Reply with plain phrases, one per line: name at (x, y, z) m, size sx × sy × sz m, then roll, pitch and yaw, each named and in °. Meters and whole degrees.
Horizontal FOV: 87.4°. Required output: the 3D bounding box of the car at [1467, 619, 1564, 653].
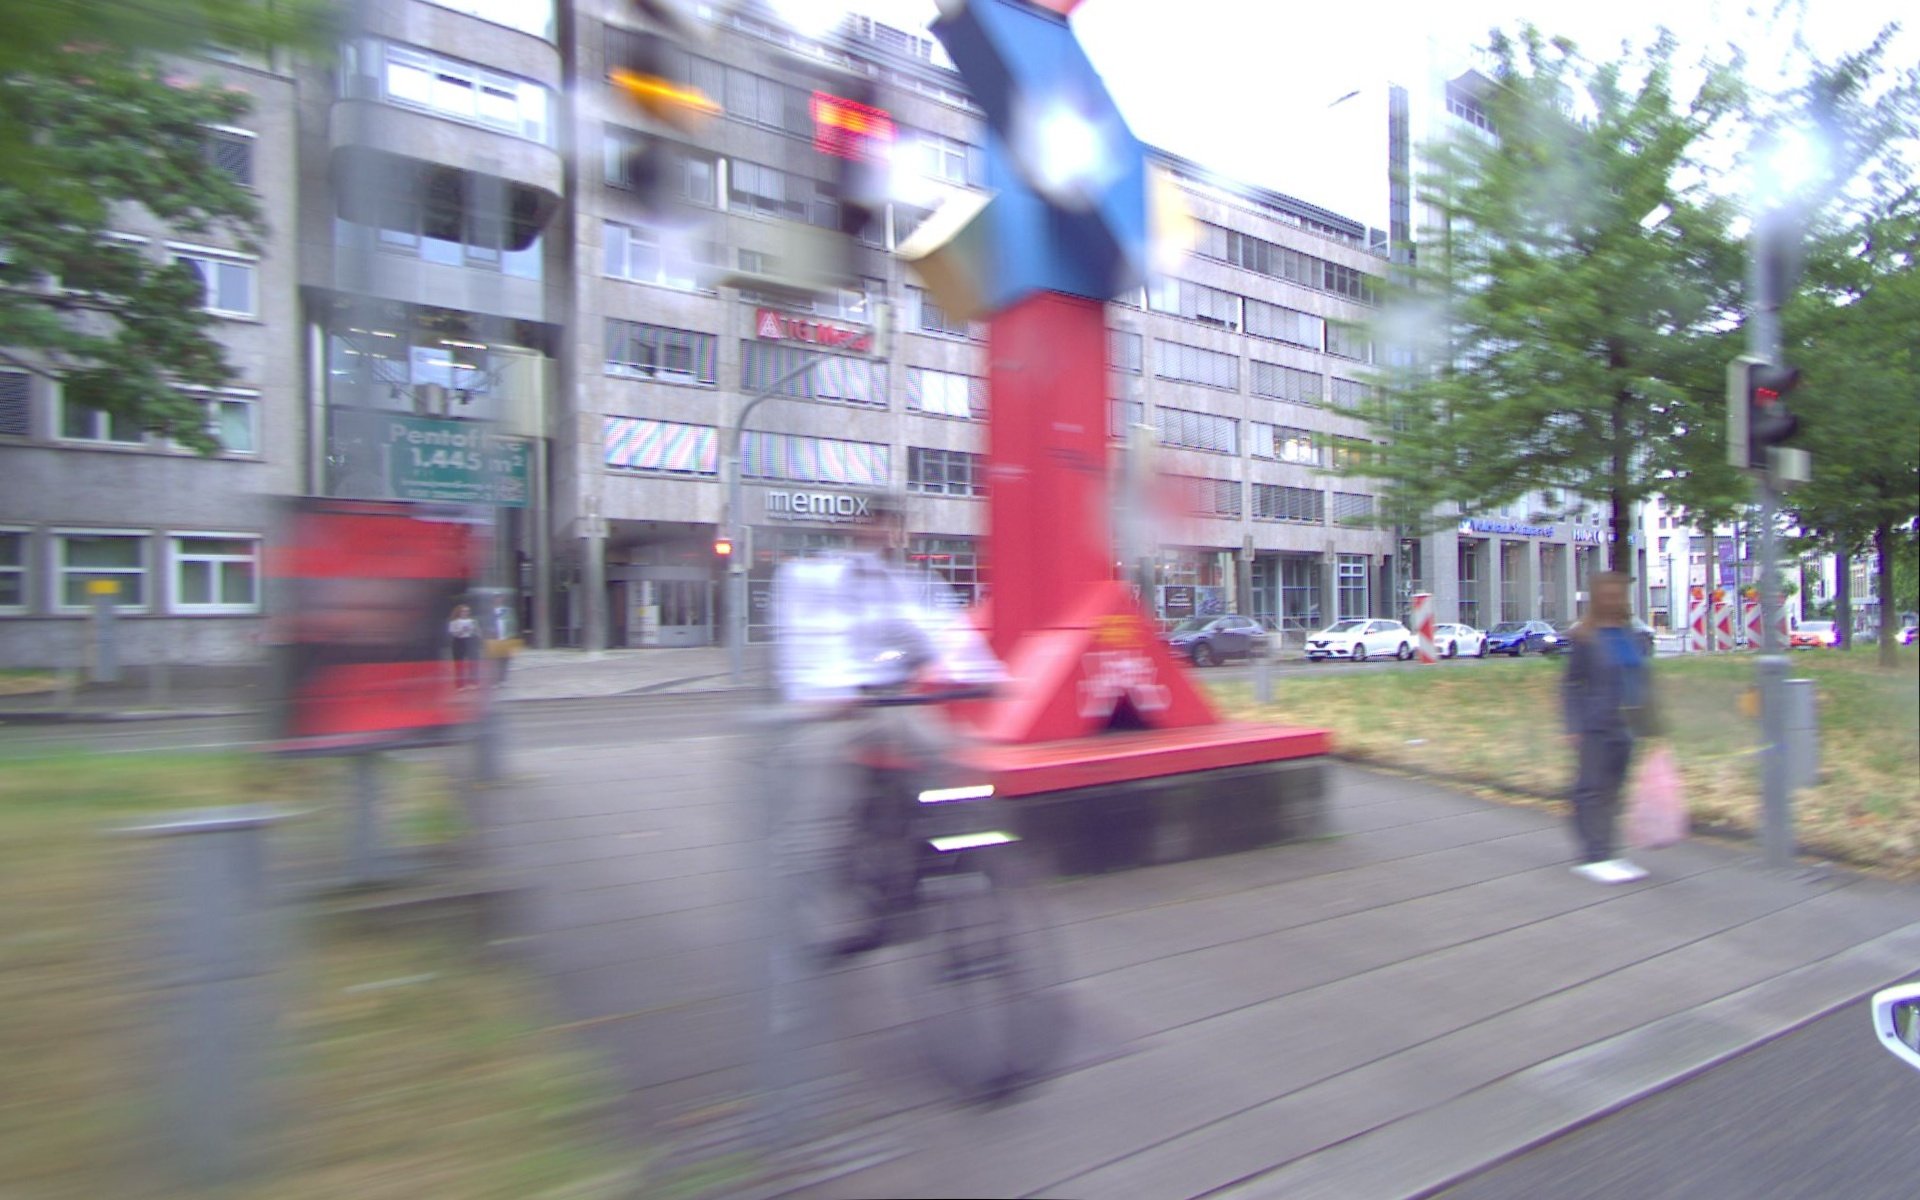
car at (23.246, 1.484, 42.009) m, size 4.433 × 1.343 × 1.879 m, roll 1°, pitch -2°, yaw -36°

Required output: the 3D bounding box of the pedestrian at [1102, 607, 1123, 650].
pedestrian at (6.475, 1.200, 42.706) m, size 0.523 × 1.811 × 0.715 m, roll 0°, pitch -1°, yaw -32°

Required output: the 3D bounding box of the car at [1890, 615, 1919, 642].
car at (62.203, 1.839, 65.310) m, size 3.964 × 1.723 × 1.931 m, roll 1°, pitch -2°, yaw -38°

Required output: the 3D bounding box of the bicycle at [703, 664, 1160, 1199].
bicycle at (-0.257, 0.887, 3.431) m, size 0.767 × 1.154 × 1.963 m, roll 0°, pitch 2°, yaw -28°

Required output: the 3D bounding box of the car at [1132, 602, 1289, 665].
car at (7.594, 0.998, 30.298) m, size 4.740 × 1.748 × 1.851 m, roll 1°, pitch -1°, yaw -33°

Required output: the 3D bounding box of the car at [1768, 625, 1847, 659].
car at (38.676, 1.887, 45.816) m, size 4.093 × 1.448 × 1.849 m, roll 1°, pitch -2°, yaw -37°

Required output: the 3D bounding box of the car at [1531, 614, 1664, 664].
car at (19.699, 1.180, 30.985) m, size 4.519 × 1.448 × 1.850 m, roll 1°, pitch -2°, yaw -35°

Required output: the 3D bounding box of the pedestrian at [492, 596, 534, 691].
pedestrian at (-8.716, 0.840, 19.594) m, size 0.712 × 1.811 × 0.525 m, roll 0°, pitch -1°, yaw -28°

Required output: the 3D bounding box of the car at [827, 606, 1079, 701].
car at (-0.076, 0.871, 17.069) m, size 3.957 × 1.433 × 1.779 m, roll 0°, pitch -3°, yaw -33°

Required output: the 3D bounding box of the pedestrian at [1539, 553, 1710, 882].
pedestrian at (3.717, 0.617, 5.625) m, size 0.712 × 1.708 × 0.525 m, roll 0°, pitch -1°, yaw -28°

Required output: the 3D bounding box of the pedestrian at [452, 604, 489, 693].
pedestrian at (-9.272, 0.907, 19.026) m, size 0.612 × 1.651 × 0.603 m, roll 0°, pitch -1°, yaw -28°

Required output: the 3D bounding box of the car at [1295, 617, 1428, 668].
car at (13.842, 1.429, 34.502) m, size 4.859 × 1.643 × 1.766 m, roll 1°, pitch -1°, yaw -33°

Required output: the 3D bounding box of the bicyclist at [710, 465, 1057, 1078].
bicyclist at (-0.324, 0.495, 3.559) m, size 0.802 × 1.773 × 1.072 m, roll 2°, pitch 1°, yaw -28°

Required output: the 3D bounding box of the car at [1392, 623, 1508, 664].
car at (18.360, 1.615, 37.584) m, size 4.633 × 1.420 × 1.766 m, roll 0°, pitch -2°, yaw -33°
